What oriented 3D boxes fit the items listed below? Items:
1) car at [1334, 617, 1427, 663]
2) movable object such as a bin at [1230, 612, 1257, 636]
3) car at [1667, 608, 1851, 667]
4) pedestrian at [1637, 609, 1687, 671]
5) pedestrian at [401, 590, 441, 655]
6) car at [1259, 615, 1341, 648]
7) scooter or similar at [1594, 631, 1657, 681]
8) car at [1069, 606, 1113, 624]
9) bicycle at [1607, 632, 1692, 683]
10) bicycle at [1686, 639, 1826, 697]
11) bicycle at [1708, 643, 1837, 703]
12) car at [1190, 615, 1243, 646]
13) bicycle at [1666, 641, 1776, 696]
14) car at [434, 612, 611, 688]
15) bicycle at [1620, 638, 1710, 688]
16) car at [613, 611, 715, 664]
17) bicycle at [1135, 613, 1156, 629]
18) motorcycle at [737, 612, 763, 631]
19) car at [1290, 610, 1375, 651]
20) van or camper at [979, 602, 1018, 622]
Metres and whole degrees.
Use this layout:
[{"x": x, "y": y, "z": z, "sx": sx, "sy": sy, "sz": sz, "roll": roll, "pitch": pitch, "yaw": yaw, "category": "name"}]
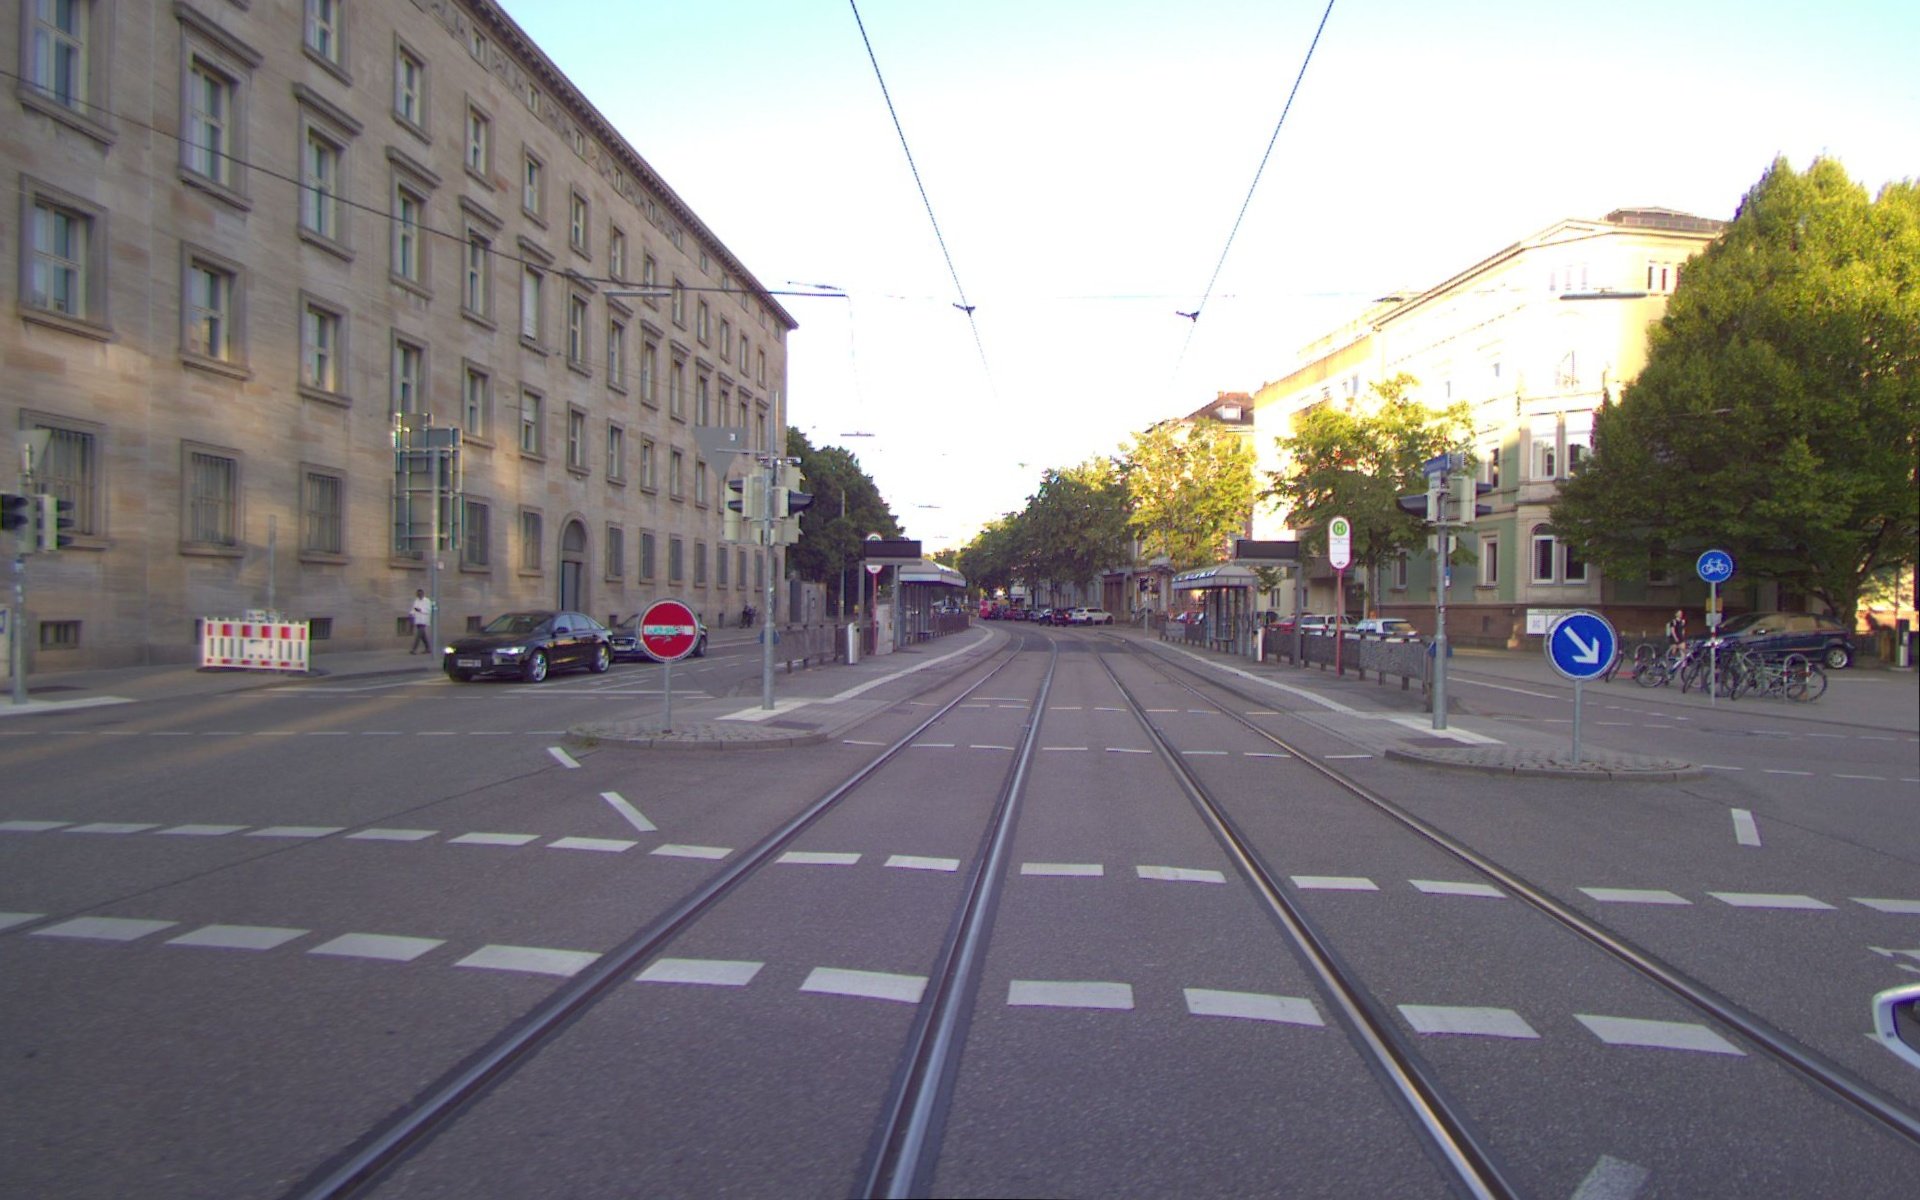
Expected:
[{"x": 16.210, "y": 1.509, "z": 38.923, "sx": 1.653, "sy": 1.573, "sz": 3.997, "roll": -2, "pitch": 0, "yaw": -5, "category": "car"}, {"x": 18.593, "y": 1.549, "z": 65.882, "sx": 1.123, "sy": 1.522, "sz": 1.596, "roll": 1, "pitch": 0, "yaw": -8, "category": "movable object such as a bin"}, {"x": 23.626, "y": 1.072, "z": 29.825, "sx": 3.916, "sy": 1.595, "sz": 1.804, "roll": 1, "pitch": 1, "yaw": 6, "category": "car"}, {"x": 20.657, "y": 1.164, "z": 29.581, "sx": 0.696, "sy": 1.791, "sz": 0.988, "roll": 1, "pitch": 0, "yaw": -9, "category": "pedestrian"}, {"x": -14.802, "y": 0.614, "z": 27.597, "sx": 0.683, "sy": 1.732, "sz": 0.646, "roll": 1, "pitch": 0, "yaw": 9, "category": "pedestrian"}, {"x": 16.394, "y": 1.517, "z": 48.363, "sx": 4.169, "sy": 1.473, "sz": 1.629, "roll": 2, "pitch": -1, "yaw": -36, "category": "car"}, {"x": 16.856, "y": 1.418, "z": 25.458, "sx": 1.179, "sy": 1.241, "sz": 0.591, "roll": -1, "pitch": 0, "yaw": 6, "category": "scooter or similar"}, {"x": 11.842, "y": 1.344, "z": 90.571, "sx": 3.919, "sy": 1.648, "sz": 1.656, "roll": 0, "pitch": -1, "yaw": -38, "category": "car"}, {"x": 16.639, "y": 1.376, "z": 24.255, "sx": 1.500, "sy": 1.178, "sz": 0.744, "roll": 1, "pitch": 0, "yaw": 8, "category": "bicycle"}, {"x": 16.344, "y": 1.381, "z": 20.670, "sx": 2.192, "sy": 1.147, "sz": 0.744, "roll": 0, "pitch": 0, "yaw": 8, "category": "bicycle"}, {"x": 15.874, "y": 1.411, "z": 19.684, "sx": 1.830, "sy": 1.089, "sz": 0.744, "roll": 0, "pitch": -1, "yaw": 24, "category": "bicycle"}, {"x": 14.648, "y": 1.712, "z": 57.604, "sx": 1.716, "sy": 1.653, "sz": 4.086, "roll": -1, "pitch": -1, "yaw": -4, "category": "car"}, {"x": 16.299, "y": 1.459, "z": 21.538, "sx": 1.725, "sy": 1.089, "sz": 0.744, "roll": 1, "pitch": 0, "yaw": 8, "category": "bicycle"}, {"x": -9.284, "y": 0.997, "z": 21.738, "sx": 1.615, "sy": 1.446, "sz": 4.234, "roll": 1, "pitch": 0, "yaw": 6, "category": "car"}, {"x": 16.330, "y": 1.455, "z": 23.289, "sx": 1.524, "sy": 1.089, "sz": 0.744, "roll": 1, "pitch": 0, "yaw": 8, "category": "bicycle"}, {"x": -8.709, "y": 1.075, "z": 29.850, "sx": 1.615, "sy": 1.446, "sz": 3.707, "roll": 1, "pitch": 0, "yaw": 6, "category": "car"}, {"x": 14.600, "y": 1.664, "z": 79.069, "sx": 1.904, "sy": 1.283, "sz": 0.594, "roll": 1, "pitch": -1, "yaw": -42, "category": "bicycle"}, {"x": -12.157, "y": 1.221, "z": 58.116, "sx": 0.686, "sy": 1.089, "sz": 2.655, "roll": 0, "pitch": -1, "yaw": 6, "category": "motorcycle"}, {"x": 16.965, "y": 1.383, "z": 45.720, "sx": 4.174, "sy": 1.748, "sz": 1.703, "roll": 2, "pitch": 1, "yaw": -39, "category": "car"}, {"x": 5.301, "y": 1.654, "z": 138.808, "sx": 5.507, "sy": 2.564, "sz": 2.061, "roll": -2, "pitch": 0, "yaw": -42, "category": "van or camper"}]
